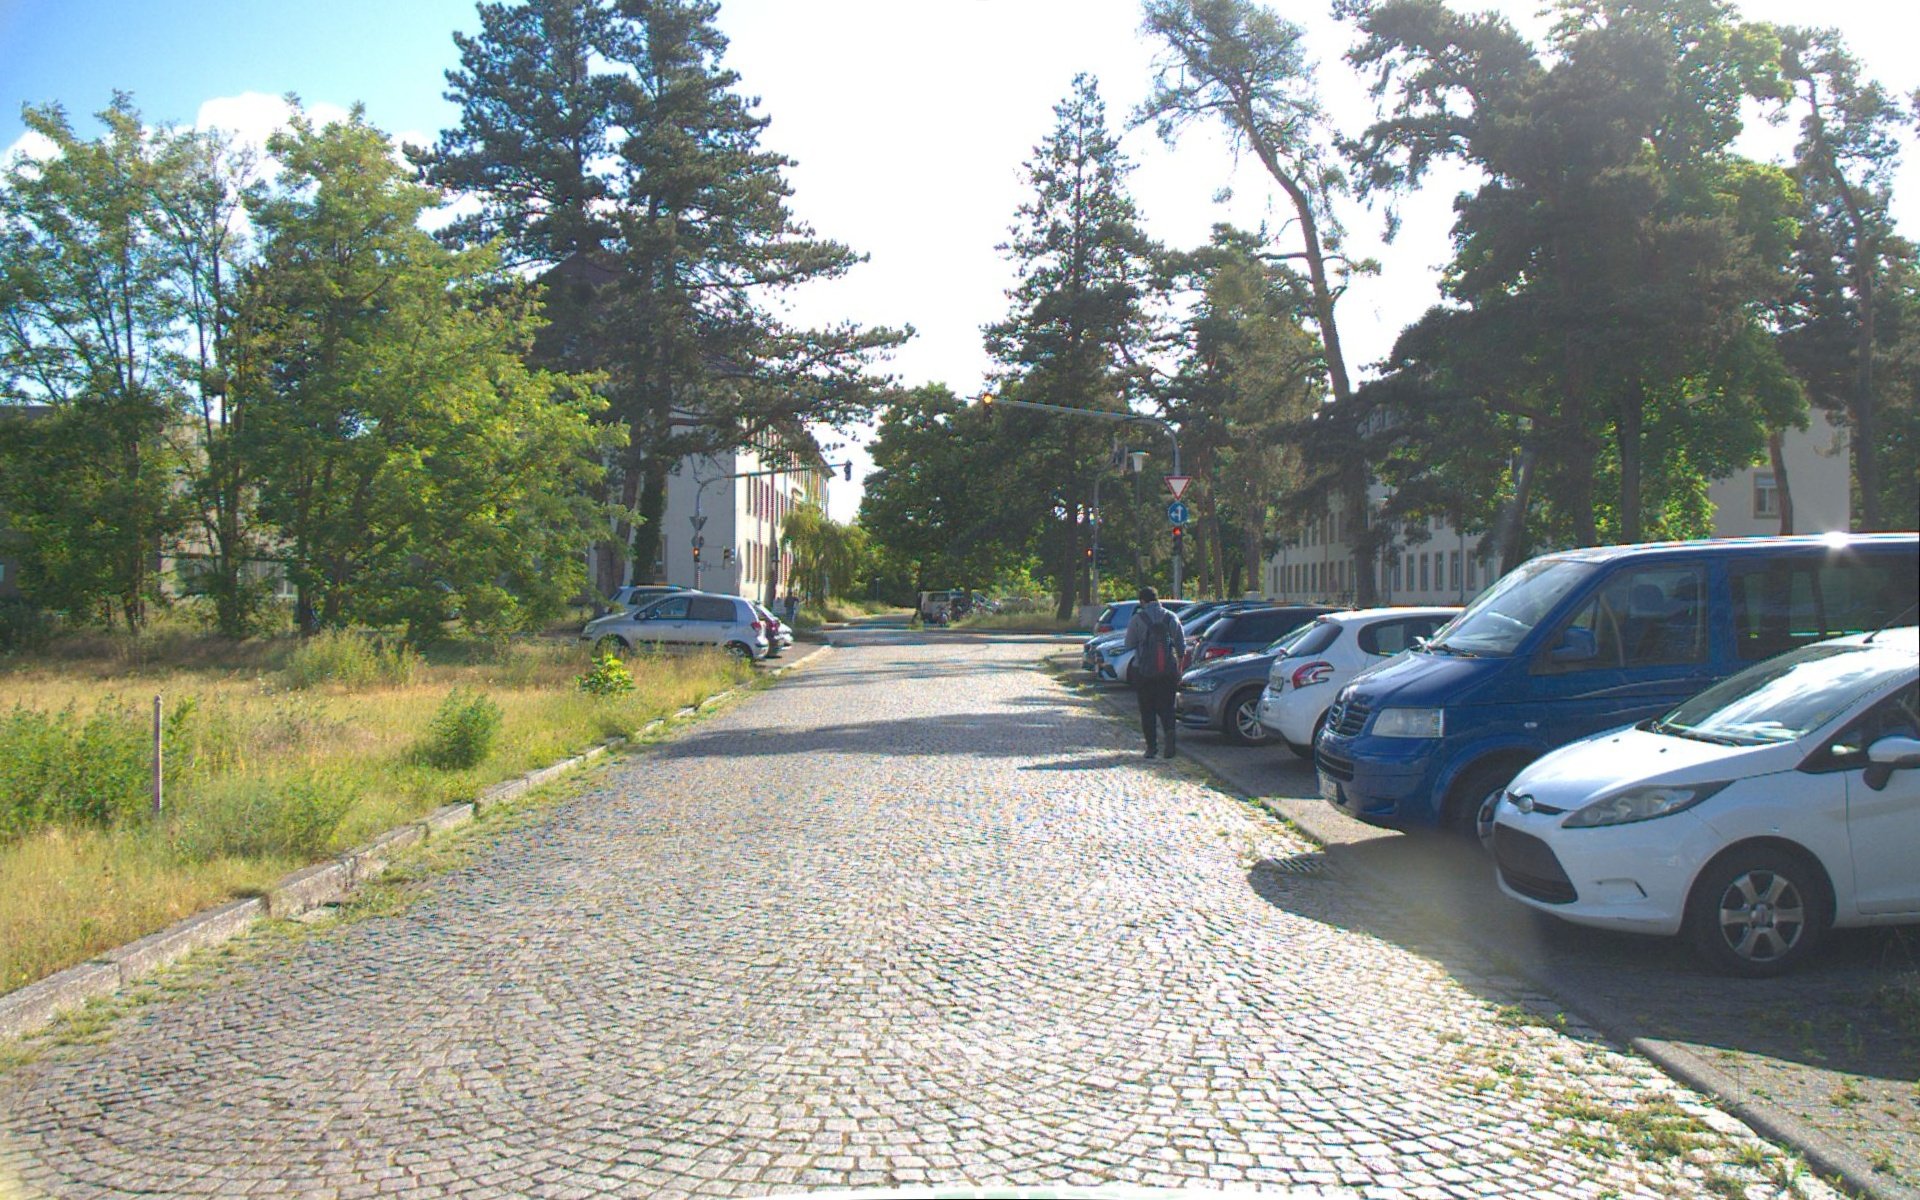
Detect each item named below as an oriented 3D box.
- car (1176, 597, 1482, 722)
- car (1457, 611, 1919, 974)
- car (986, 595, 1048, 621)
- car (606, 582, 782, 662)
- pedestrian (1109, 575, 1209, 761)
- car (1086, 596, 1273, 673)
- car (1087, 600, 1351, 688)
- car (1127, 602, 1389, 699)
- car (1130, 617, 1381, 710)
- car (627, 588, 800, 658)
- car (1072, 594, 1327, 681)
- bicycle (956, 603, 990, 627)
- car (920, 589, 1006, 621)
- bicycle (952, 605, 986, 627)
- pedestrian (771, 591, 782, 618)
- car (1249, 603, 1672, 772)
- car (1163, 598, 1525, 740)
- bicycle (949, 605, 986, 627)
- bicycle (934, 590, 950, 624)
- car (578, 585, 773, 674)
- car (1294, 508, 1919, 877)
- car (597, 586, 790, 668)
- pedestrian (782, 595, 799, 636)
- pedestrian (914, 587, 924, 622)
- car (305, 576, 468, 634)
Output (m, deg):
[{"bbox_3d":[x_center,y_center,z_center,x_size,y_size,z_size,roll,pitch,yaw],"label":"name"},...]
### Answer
[{"bbox_3d":[4.749,0.741,21.612,3.588,1.480,1.666,-1,0,-1],"label":"car"},{"bbox_3d":[4.474,0.818,7.969,3.646,1.492,1.609,-1,0,-3],"label":"car"},{"bbox_3d":[3.592,0.481,104.957,3.673,1.607,1.738,1,0,-8],"label":"car"},{"bbox_3d":[-6.145,0.500,38.509,3.802,1.643,1.660,3,0,-2],"label":"car"},{"bbox_3d":[1.988,0.664,16.622,0.738,1.755,0.828,5,0,-1],"label":"pedestrian"},{"bbox_3d":[4.495,0.693,34.226,3.598,1.468,1.665,-1,0,-1],"label":"car"},{"bbox_3d":[4.490,0.742,29.046,4.310,1.413,1.788,-1,0,-2],"label":"car"},{"bbox_3d":[4.732,0.781,26.632,3.899,1.474,1.655,0,0,-2],"label":"car"},{"bbox_3d":[4.273,0.904,24.234,3.390,1.264,1.536,1,0,-1],"label":"car"},{"bbox_3d":[-6.103,0.564,41.259,3.904,1.522,1.773,3,0,4],"label":"car"},{"bbox_3d":[4.521,0.689,31.689,4.528,1.481,1.869,-2,0,-3],"label":"car"},{"bbox_3d":[0.662,0.766,84.332,1.693,1.185,0.560,0,0,-5],"label":"bicycle"},{"bbox_3d":[0.180,0.303,101.051,4.975,1.952,1.995,0,0,-10],"label":"car"},{"bbox_3d":[0.440,0.800,83.647,1.693,1.132,0.483,0,0,-5],"label":"bicycle"},{"bbox_3d":[-10.741,0.258,96.876,0.595,1.587,0.544,0,0,-7],"label":"pedestrian"},{"bbox_3d":[4.692,0.798,15.844,3.570,1.518,1.634,0,0,-1],"label":"car"},{"bbox_3d":[4.262,0.743,18.769,3.703,1.476,1.758,-1,0,1],"label":"car"},{"bbox_3d":[0.380,0.799,83.101,1.798,1.132,0.495,0,0,-5],"label":"bicycle"},{"bbox_3d":[-0.864,0.314,79.839,0.738,1.608,2.536,1,0,-1],"label":"bicycle"},{"bbox_3d":[-5.659,0.581,33.211,3.612,1.554,1.698,3,0,-3],"label":"car"},{"bbox_3d":[4.692,0.511,10.601,4.657,2.049,2.000,-2,0,-1],"label":"car"},{"bbox_3d":[-5.727,0.571,35.874,3.859,1.470,1.690,4,0,-2],"label":"car"},{"bbox_3d":[-7.435,0.667,72.458,0.598,1.783,0.627,1,0,-20],"label":"pedestrian"},{"bbox_3d":[-2.475,0.258,99.026,0.582,2.049,0.572,0,0,0],"label":"pedestrian"},{"bbox_3d":[-16.710,0.140,48.328,4.059,1.636,2.010,0,0,0],"label":"car"}]
